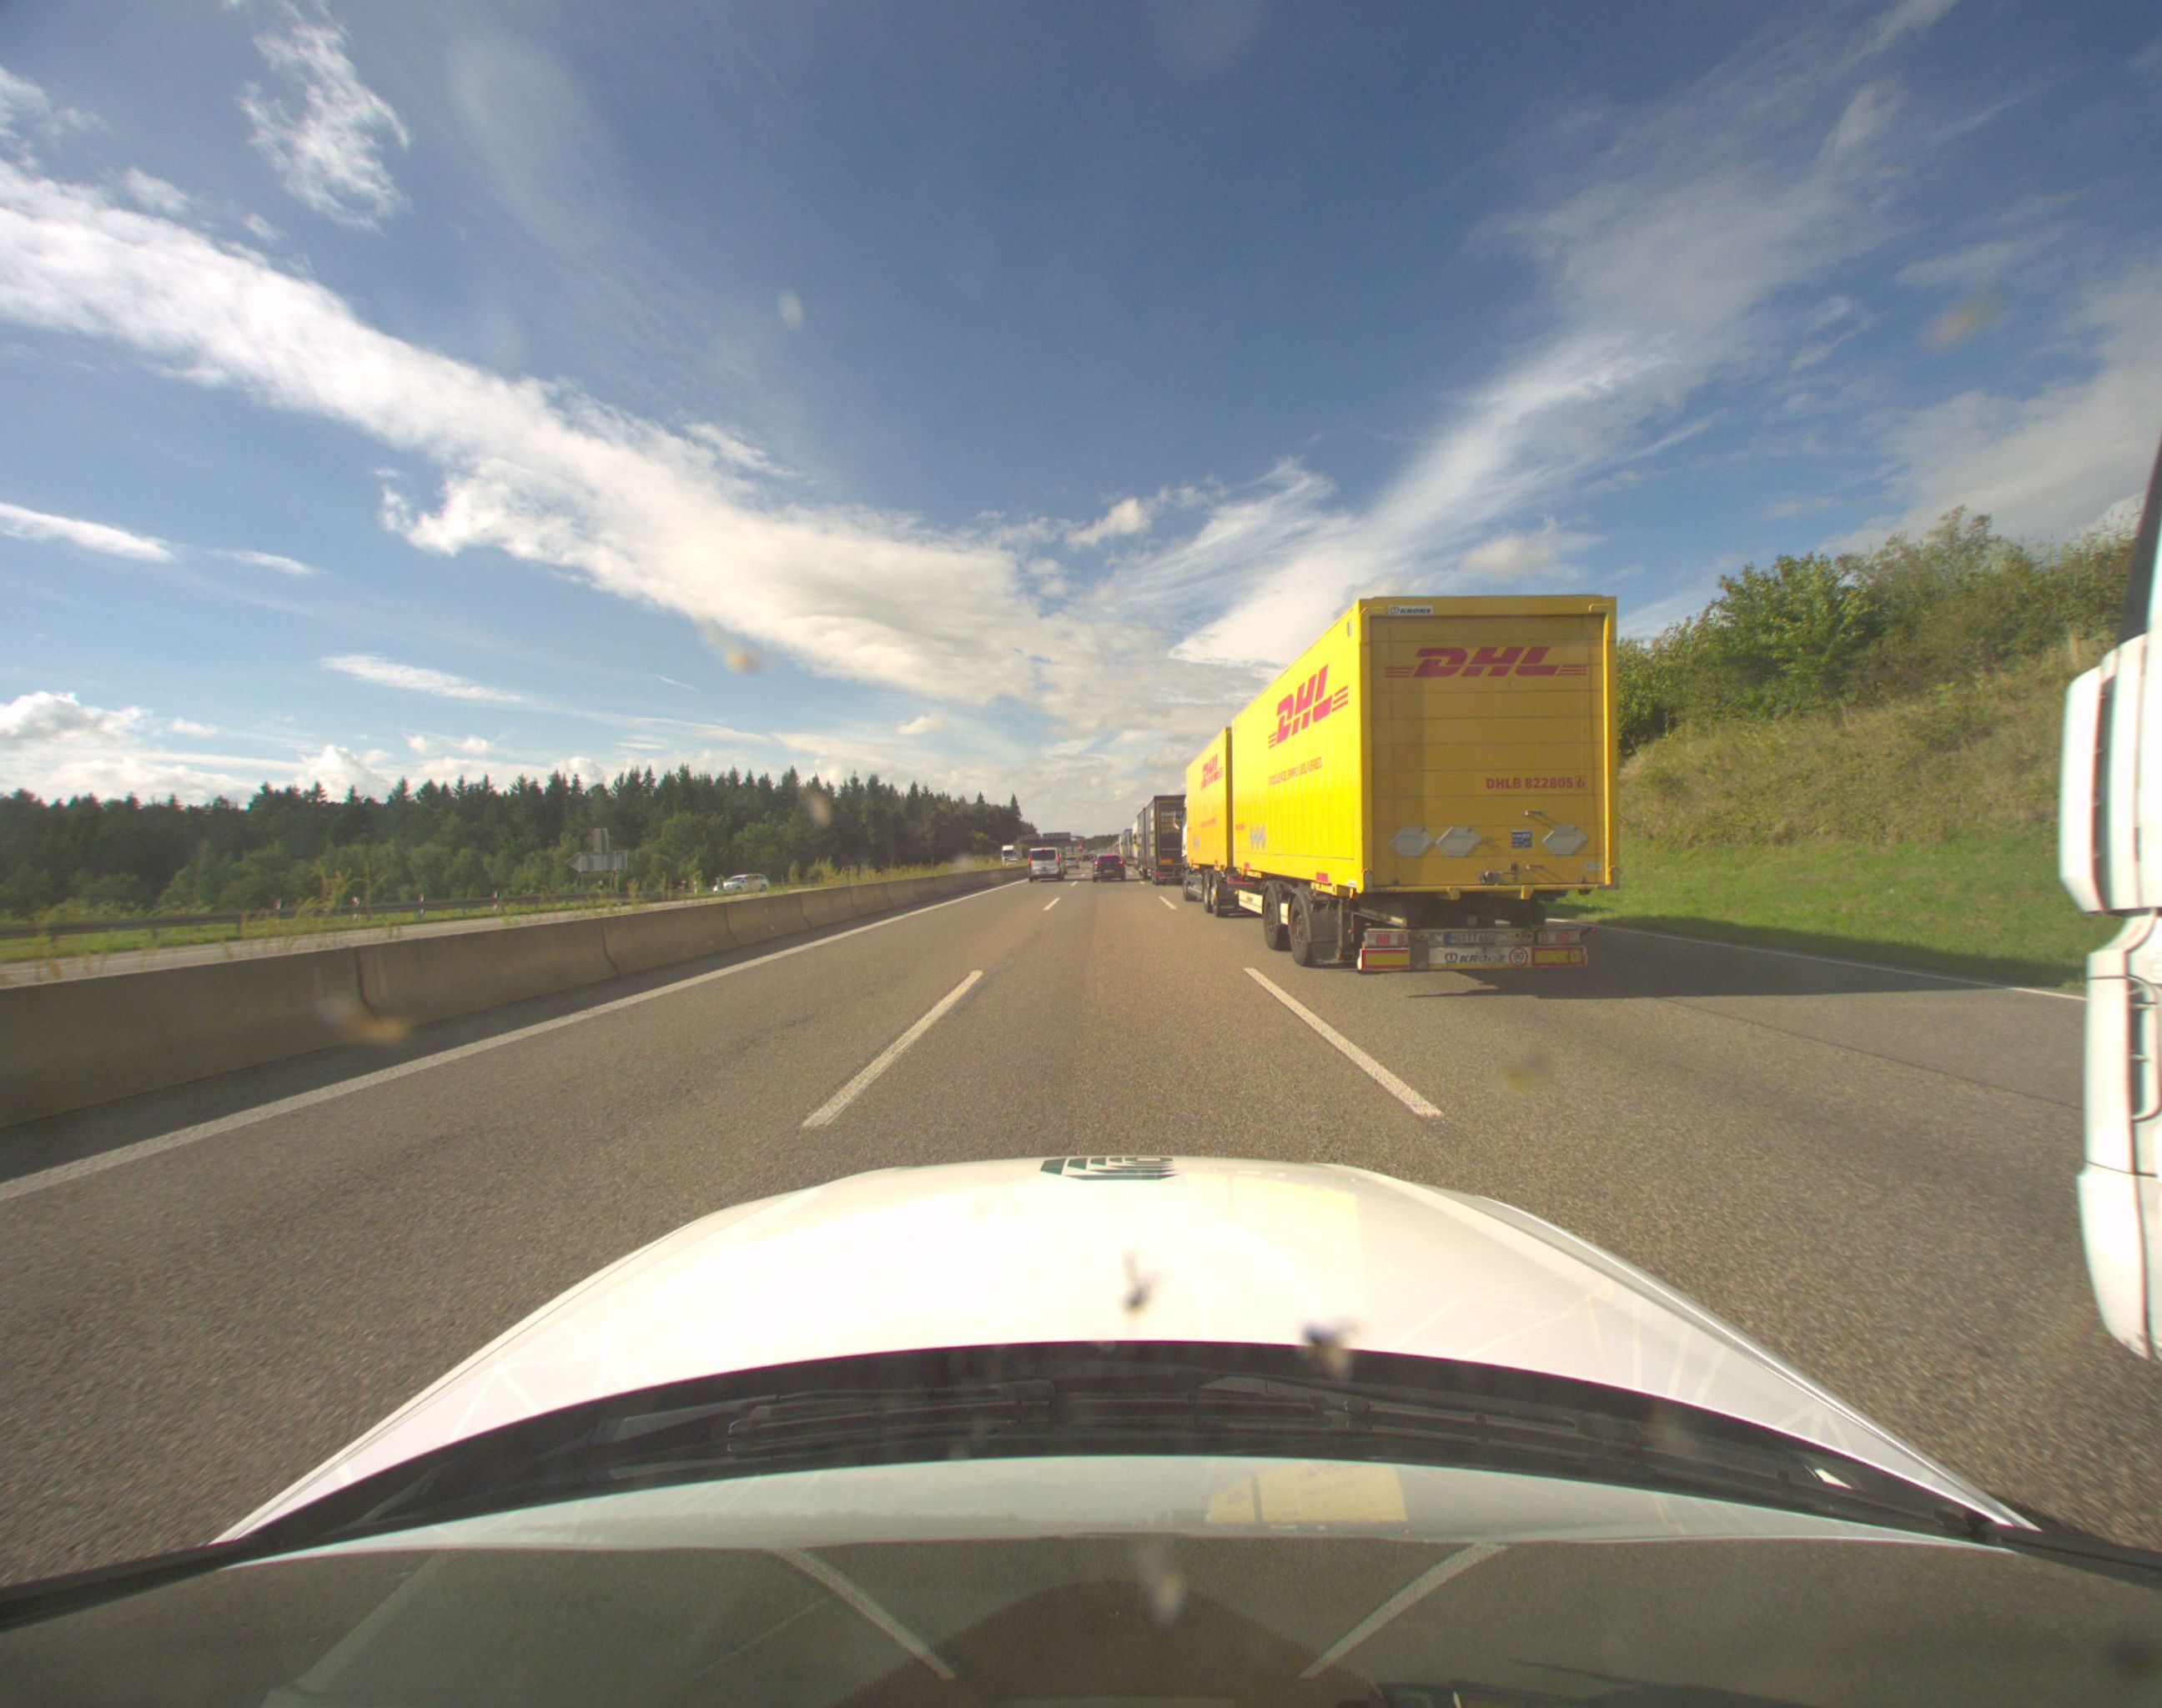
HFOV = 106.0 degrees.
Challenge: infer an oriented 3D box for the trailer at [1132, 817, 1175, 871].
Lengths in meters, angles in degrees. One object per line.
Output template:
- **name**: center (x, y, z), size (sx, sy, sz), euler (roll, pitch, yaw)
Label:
- **trailer**: center (5.810, -0.714, 67.358), size (2.780, 3.939, 13.077), euler (-2, 0, 2)

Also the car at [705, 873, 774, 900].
- **car**: center (-25.537, 2.380, 61.117), size (1.978, 1.800, 4.999), euler (0, 0, 17)

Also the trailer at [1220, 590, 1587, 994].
- **trailer**: center (4.008, -0.632, 12.677), size (2.403, 4.068, 8.929), euler (0, 0, 2)

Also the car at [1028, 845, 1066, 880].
- **car**: center (-1.989, 0.494, 48.913), size (1.925, 1.979, 5.100), euler (0, 0, 2)

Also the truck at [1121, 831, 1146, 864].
- **truck**: center (6.442, -0.789, 100.959), size (2.637, 3.869, 6.999), euler (-3, 0, 2)

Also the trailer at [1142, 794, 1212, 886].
- **trailer**: center (4.448, -0.627, 39.408), size (2.705, 3.960, 8.717), euler (0, 0, 2)

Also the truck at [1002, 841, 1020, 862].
- **truck**: center (-14.128, -0.514, 164.806), size (2.809, 3.976, 5.834), euler (-2, 0, 1)

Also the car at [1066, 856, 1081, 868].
- **car**: center (-0.860, 0.883, 93.199), size (1.494, 1.396, 3.477), euler (0, 0, 2)

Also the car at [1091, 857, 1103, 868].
- **car**: center (2.208, 1.126, 110.032), size (1.575, 1.396, 3.208), euler (0, 0, 1)

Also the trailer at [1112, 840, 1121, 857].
- **trailer**: center (9.268, -1.399, 211.053), size (2.141, 4.259, 8.445), euler (-3, 0, 2)

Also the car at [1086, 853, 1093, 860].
- **car**: center (1.682, 0.483, 165.627), size (1.429, 1.310, 3.534), euler (0, 0, 1)

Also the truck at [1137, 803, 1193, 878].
- **truck**: center (4.866, -0.702, 48.847), size (2.730, 4.038, 10.209), euler (0, 0, 3)

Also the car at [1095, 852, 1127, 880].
- **car**: center (1.635, 0.652, 45.301), size (1.690, 1.483, 4.161), euler (0, 0, 2)

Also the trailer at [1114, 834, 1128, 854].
- **trailer**: center (9.092, -2.232, 183.854), size (2.791, 4.244, 11.063), euler (-4, 0, 3)

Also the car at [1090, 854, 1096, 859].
- **car**: center (2.959, 0.556, 200.004), size (1.429, 1.310, 3.534), euler (0, 0, 1)

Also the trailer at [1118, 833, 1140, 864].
- **trailer**: center (6.978, -0.822, 119.248), size (2.693, 4.081, 12.950), euler (-4, 0, 2)

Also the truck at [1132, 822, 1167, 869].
- **truck**: center (6.085, -0.728, 73.529), size (2.791, 3.939, 5.829), euler (-2, 0, 2)

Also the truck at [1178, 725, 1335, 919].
- **truck**: center (4.263, -0.679, 21.972), size (2.403, 4.068, 9.668), euler (0, 0, 2)

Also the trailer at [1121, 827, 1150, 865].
- **trailer**: center (6.176, -0.827, 93.557), size (2.651, 3.868, 13.400), euler (-3, 0, 2)
